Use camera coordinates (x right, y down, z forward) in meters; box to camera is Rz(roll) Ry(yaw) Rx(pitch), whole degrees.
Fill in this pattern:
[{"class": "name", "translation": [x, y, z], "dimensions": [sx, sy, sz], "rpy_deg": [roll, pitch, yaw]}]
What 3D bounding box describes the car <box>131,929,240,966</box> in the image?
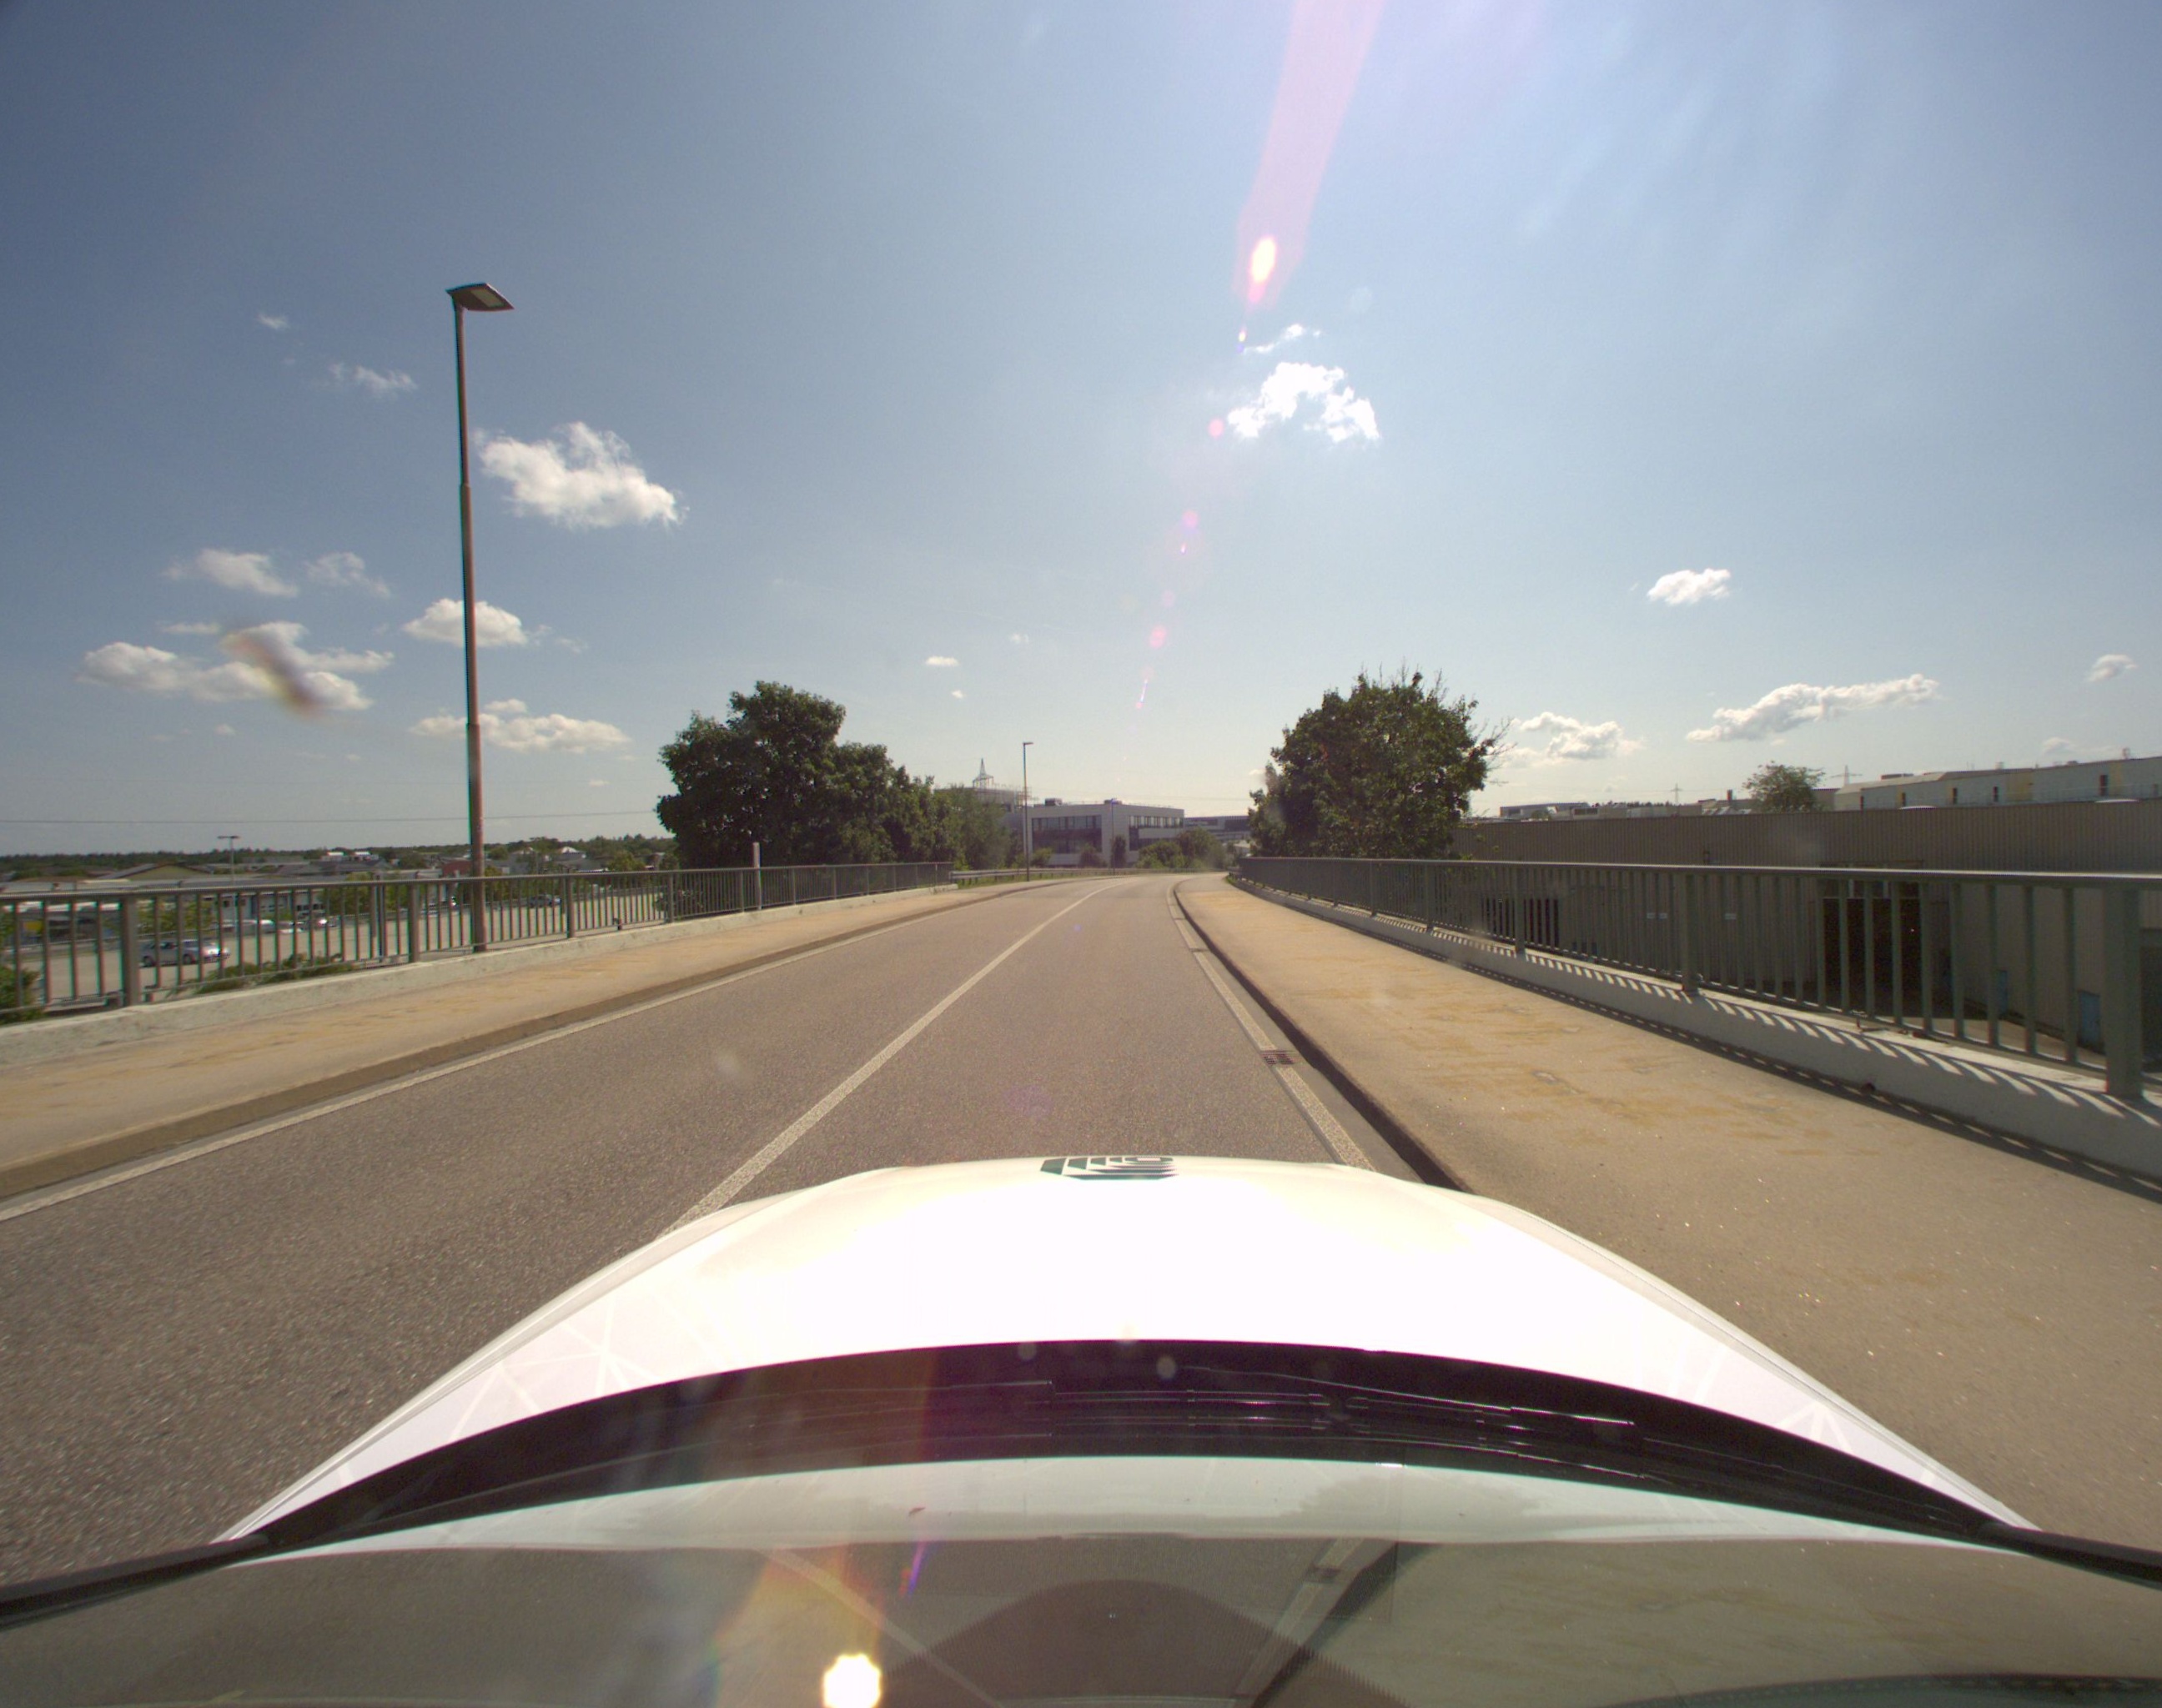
[{"class": "car", "translation": [-52.915, 5.493, 48.171], "dimensions": [3.983, 1.747, 1.903], "rpy_deg": [-3, 0, -7]}]
